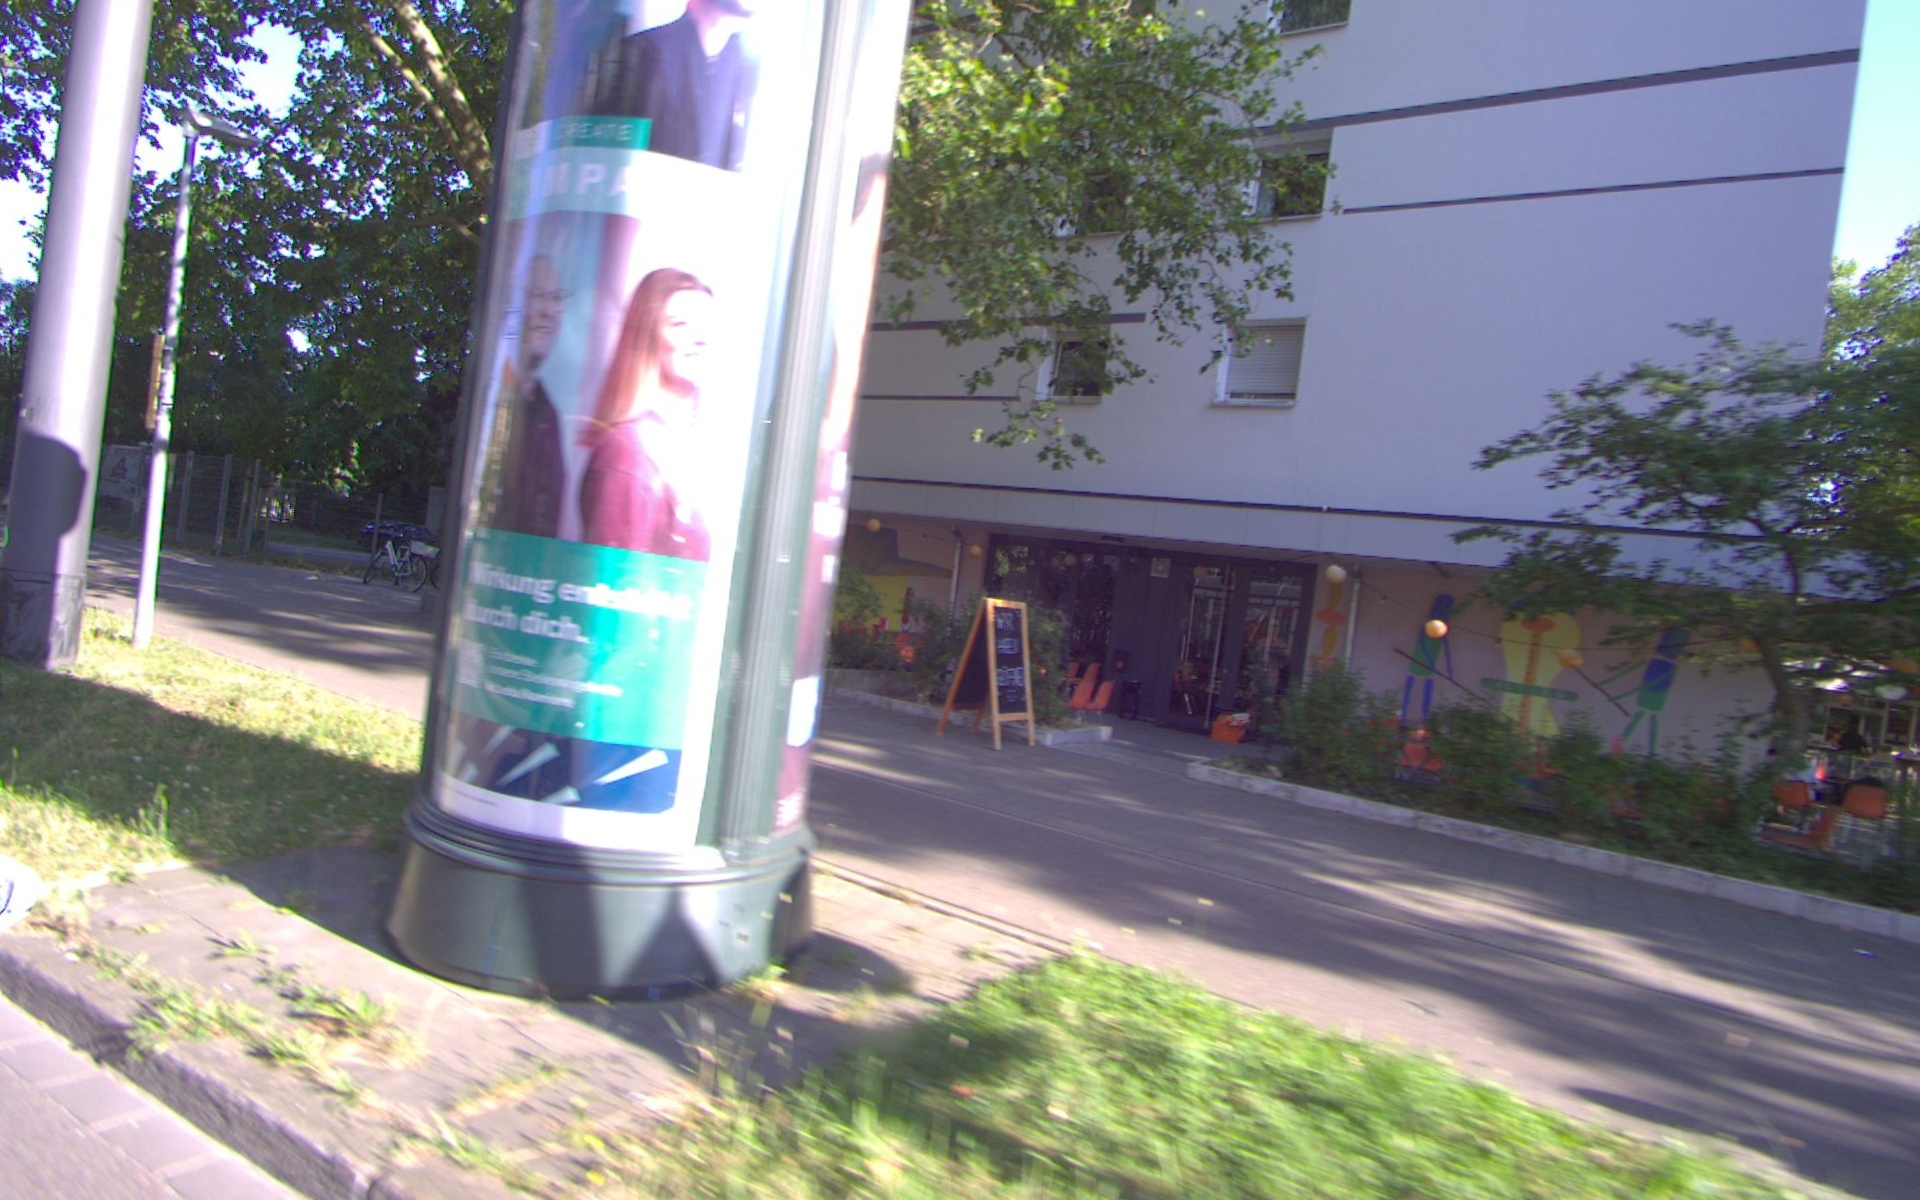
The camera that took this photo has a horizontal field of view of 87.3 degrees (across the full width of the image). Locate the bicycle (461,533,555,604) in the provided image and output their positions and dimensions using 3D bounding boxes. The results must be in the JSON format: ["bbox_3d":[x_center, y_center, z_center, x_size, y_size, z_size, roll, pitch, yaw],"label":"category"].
[{"bbox_3d":[-9.386,-0.653,20.885,1.790,1.191,0.791,8,-1,32],"label":"bicycle"}]

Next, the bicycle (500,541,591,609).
[{"bbox_3d":[-8.918,-0.549,21.630,1.790,1.191,0.791,8,-1,32],"label":"bicycle"}]

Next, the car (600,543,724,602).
[{"bbox_3d":[-10.897,-1.011,36.803,3.931,1.469,1.999,8,-2,29],"label":"car"}]

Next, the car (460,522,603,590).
[{"bbox_3d":[-13.565,-1.392,31.840,3.931,1.469,1.999,8,-2,29],"label":"car"}]

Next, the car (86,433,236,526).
[{"bbox_3d":[-27.306,-4.152,34.291,6.244,2.527,1.997,8,-2,34],"label":"car"}]

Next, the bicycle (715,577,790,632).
[{"bbox_3d":[-5.593,0.121,27.124,1.790,1.191,0.791,8,-1,32],"label":"bicycle"}]

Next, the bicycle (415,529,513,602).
[{"bbox_3d":[-9.919,-0.692,20.094,1.790,1.191,0.791,8,-1,32],"label":"bicycle"}]

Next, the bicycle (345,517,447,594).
[{"bbox_3d":[-10.703,-0.857,19.091,1.790,1.191,0.791,8,-1,32],"label":"bicycle"}]

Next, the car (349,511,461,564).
[{"bbox_3d":[-22.255,-2.503,40.343,3.931,1.469,1.999,8,-2,29],"label":"car"}]
